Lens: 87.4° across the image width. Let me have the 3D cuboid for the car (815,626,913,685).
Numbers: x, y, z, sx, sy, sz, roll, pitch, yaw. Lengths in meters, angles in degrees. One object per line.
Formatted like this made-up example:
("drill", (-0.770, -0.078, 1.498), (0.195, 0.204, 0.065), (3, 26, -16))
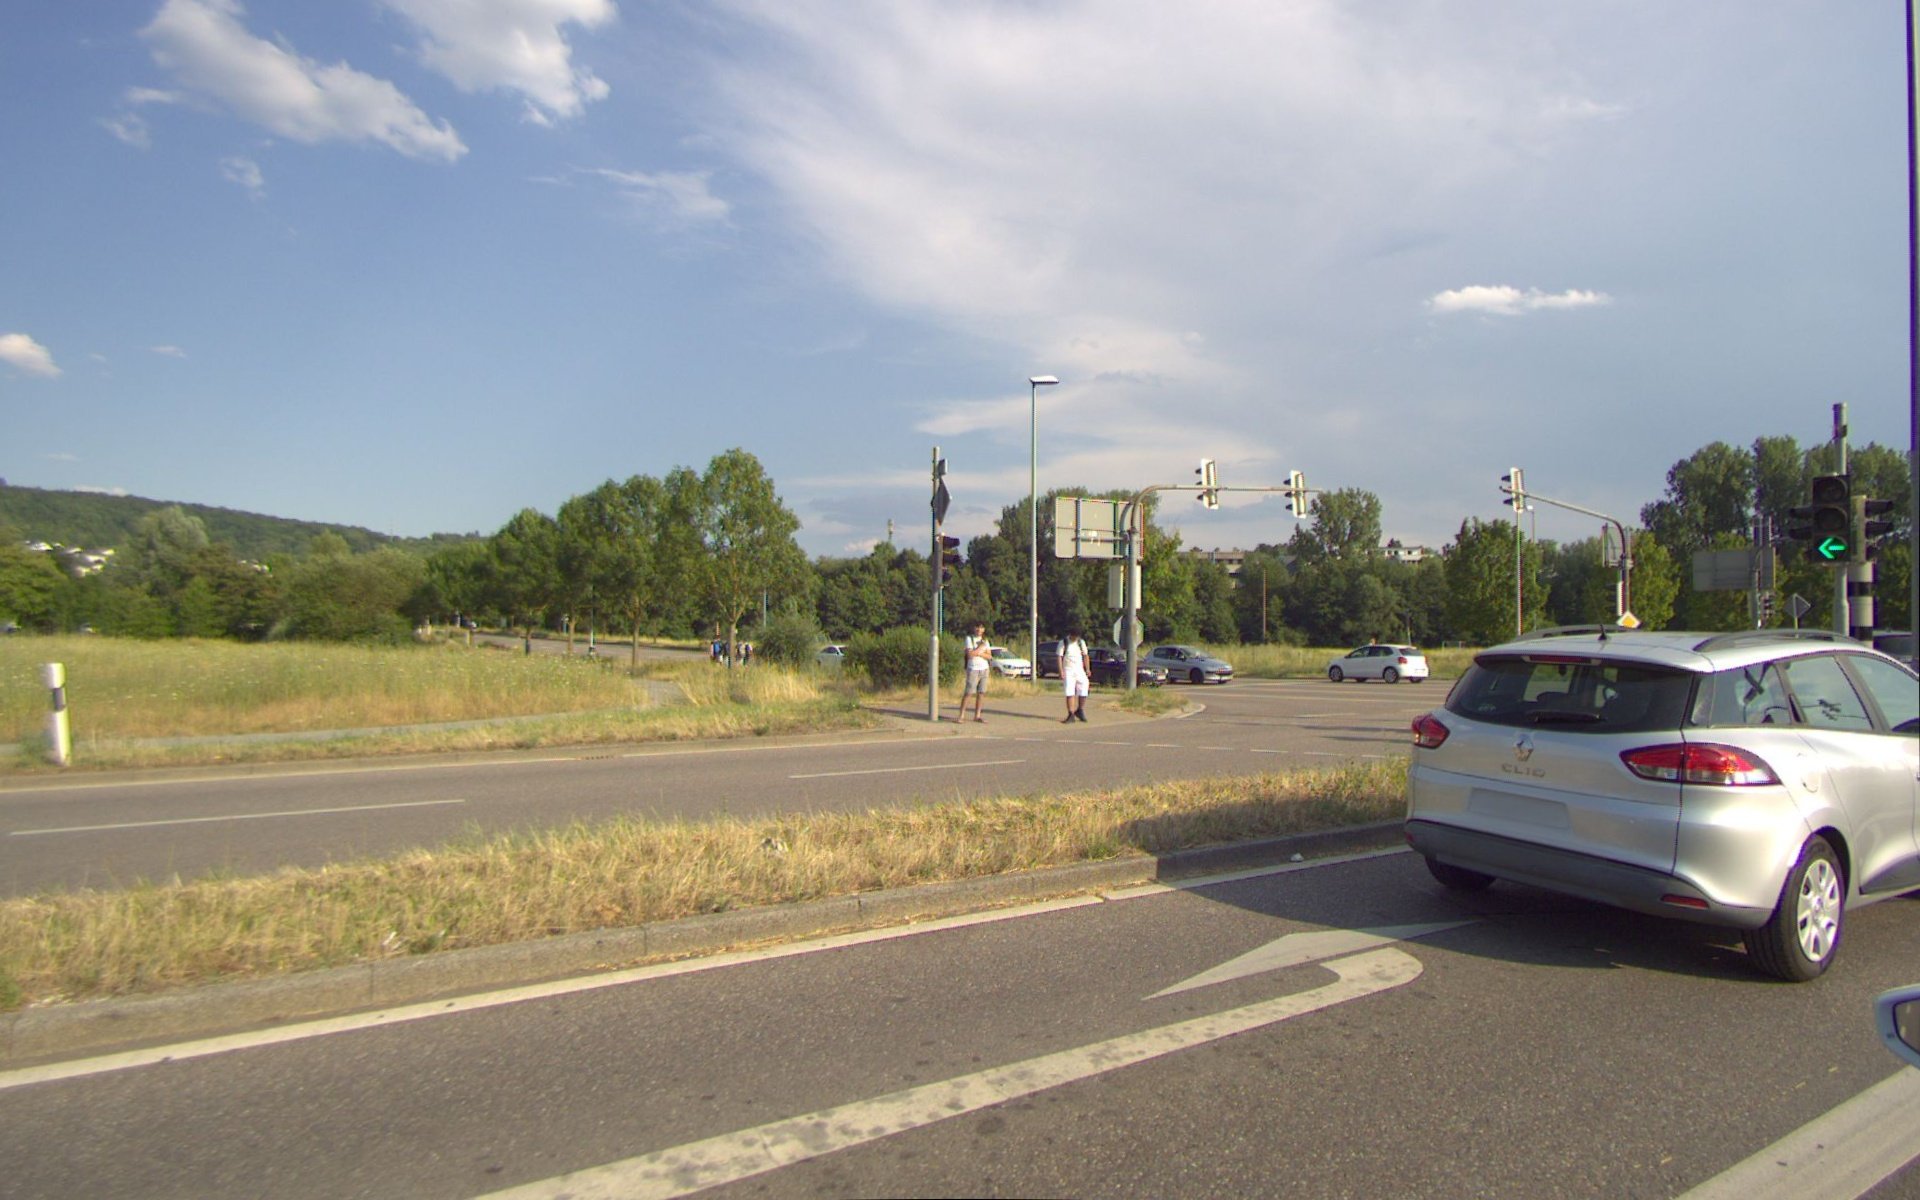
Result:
("car", (-2.938, 1.602, 30.045), (1.745, 1.528, 3.697), (2, 0, -26))

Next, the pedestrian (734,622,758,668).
("pedestrian", (-9.574, 2.008, 44.897), (0.684, 2.040, 0.721), (2, 0, 35))

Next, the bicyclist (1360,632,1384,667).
("bicyclist", (18.805, 2.239, 45.866), (0.902, 1.521, 0.725), (2, 0, 13))

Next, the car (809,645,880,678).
("car", (-5.929, 3.109, 51.290), (1.754, 1.439, 3.833), (2, 0, -41))

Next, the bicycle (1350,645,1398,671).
("bicycle", (18.882, 2.642, 45.838), (1.896, 1.053, 0.709), (2, 0, 12))

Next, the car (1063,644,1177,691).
("car", (5.704, 2.371, 36.034), (1.626, 1.378, 3.828), (2, 0, -45))

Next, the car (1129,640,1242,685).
("car", (8.493, 2.312, 38.016), (1.757, 1.439, 3.828), (2, 0, -45))

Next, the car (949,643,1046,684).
("car", (1.505, 2.573, 41.313), (1.757, 1.439, 3.828), (2, 0, -45))

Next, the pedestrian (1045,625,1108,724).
("pedestrian", (1.993, 1.265, 17.220), (0.873, 1.628, 0.656), (2, 0, -10))

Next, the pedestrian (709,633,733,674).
("pedestrian", (-10.819, 2.407, 45.465), (0.684, 1.781, 0.721), (2, 0, 35))

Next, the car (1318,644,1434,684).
("car", (15.658, 2.373, 37.971), (1.751, 1.386, 3.713), (2, -2, -35))

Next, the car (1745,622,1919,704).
("car", (20.287, 1.440, 23.162), (1.887, 1.712, 4.161), (0, -3, 14))

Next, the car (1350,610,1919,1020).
("car", (4.239, 0.833, 5.516), (4.141, 1.496, 1.748), (1, -1, -31))

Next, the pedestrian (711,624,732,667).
("pedestrian", (-10.594, 2.038, 44.597), (0.773, 1.877, 0.426), (2, 0, -24))

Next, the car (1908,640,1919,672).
("car", (43.516, 2.466, 44.021), (3.954, 1.394, 1.805), (2, -4, -31))

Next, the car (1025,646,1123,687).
("car", (4.764, 2.743, 42.166), (1.757, 1.439, 3.828), (2, 0, -45))

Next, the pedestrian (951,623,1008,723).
("pedestrian", (0.320, 1.213, 16.857), (0.822, 1.628, 0.656), (2, 0, -10))
